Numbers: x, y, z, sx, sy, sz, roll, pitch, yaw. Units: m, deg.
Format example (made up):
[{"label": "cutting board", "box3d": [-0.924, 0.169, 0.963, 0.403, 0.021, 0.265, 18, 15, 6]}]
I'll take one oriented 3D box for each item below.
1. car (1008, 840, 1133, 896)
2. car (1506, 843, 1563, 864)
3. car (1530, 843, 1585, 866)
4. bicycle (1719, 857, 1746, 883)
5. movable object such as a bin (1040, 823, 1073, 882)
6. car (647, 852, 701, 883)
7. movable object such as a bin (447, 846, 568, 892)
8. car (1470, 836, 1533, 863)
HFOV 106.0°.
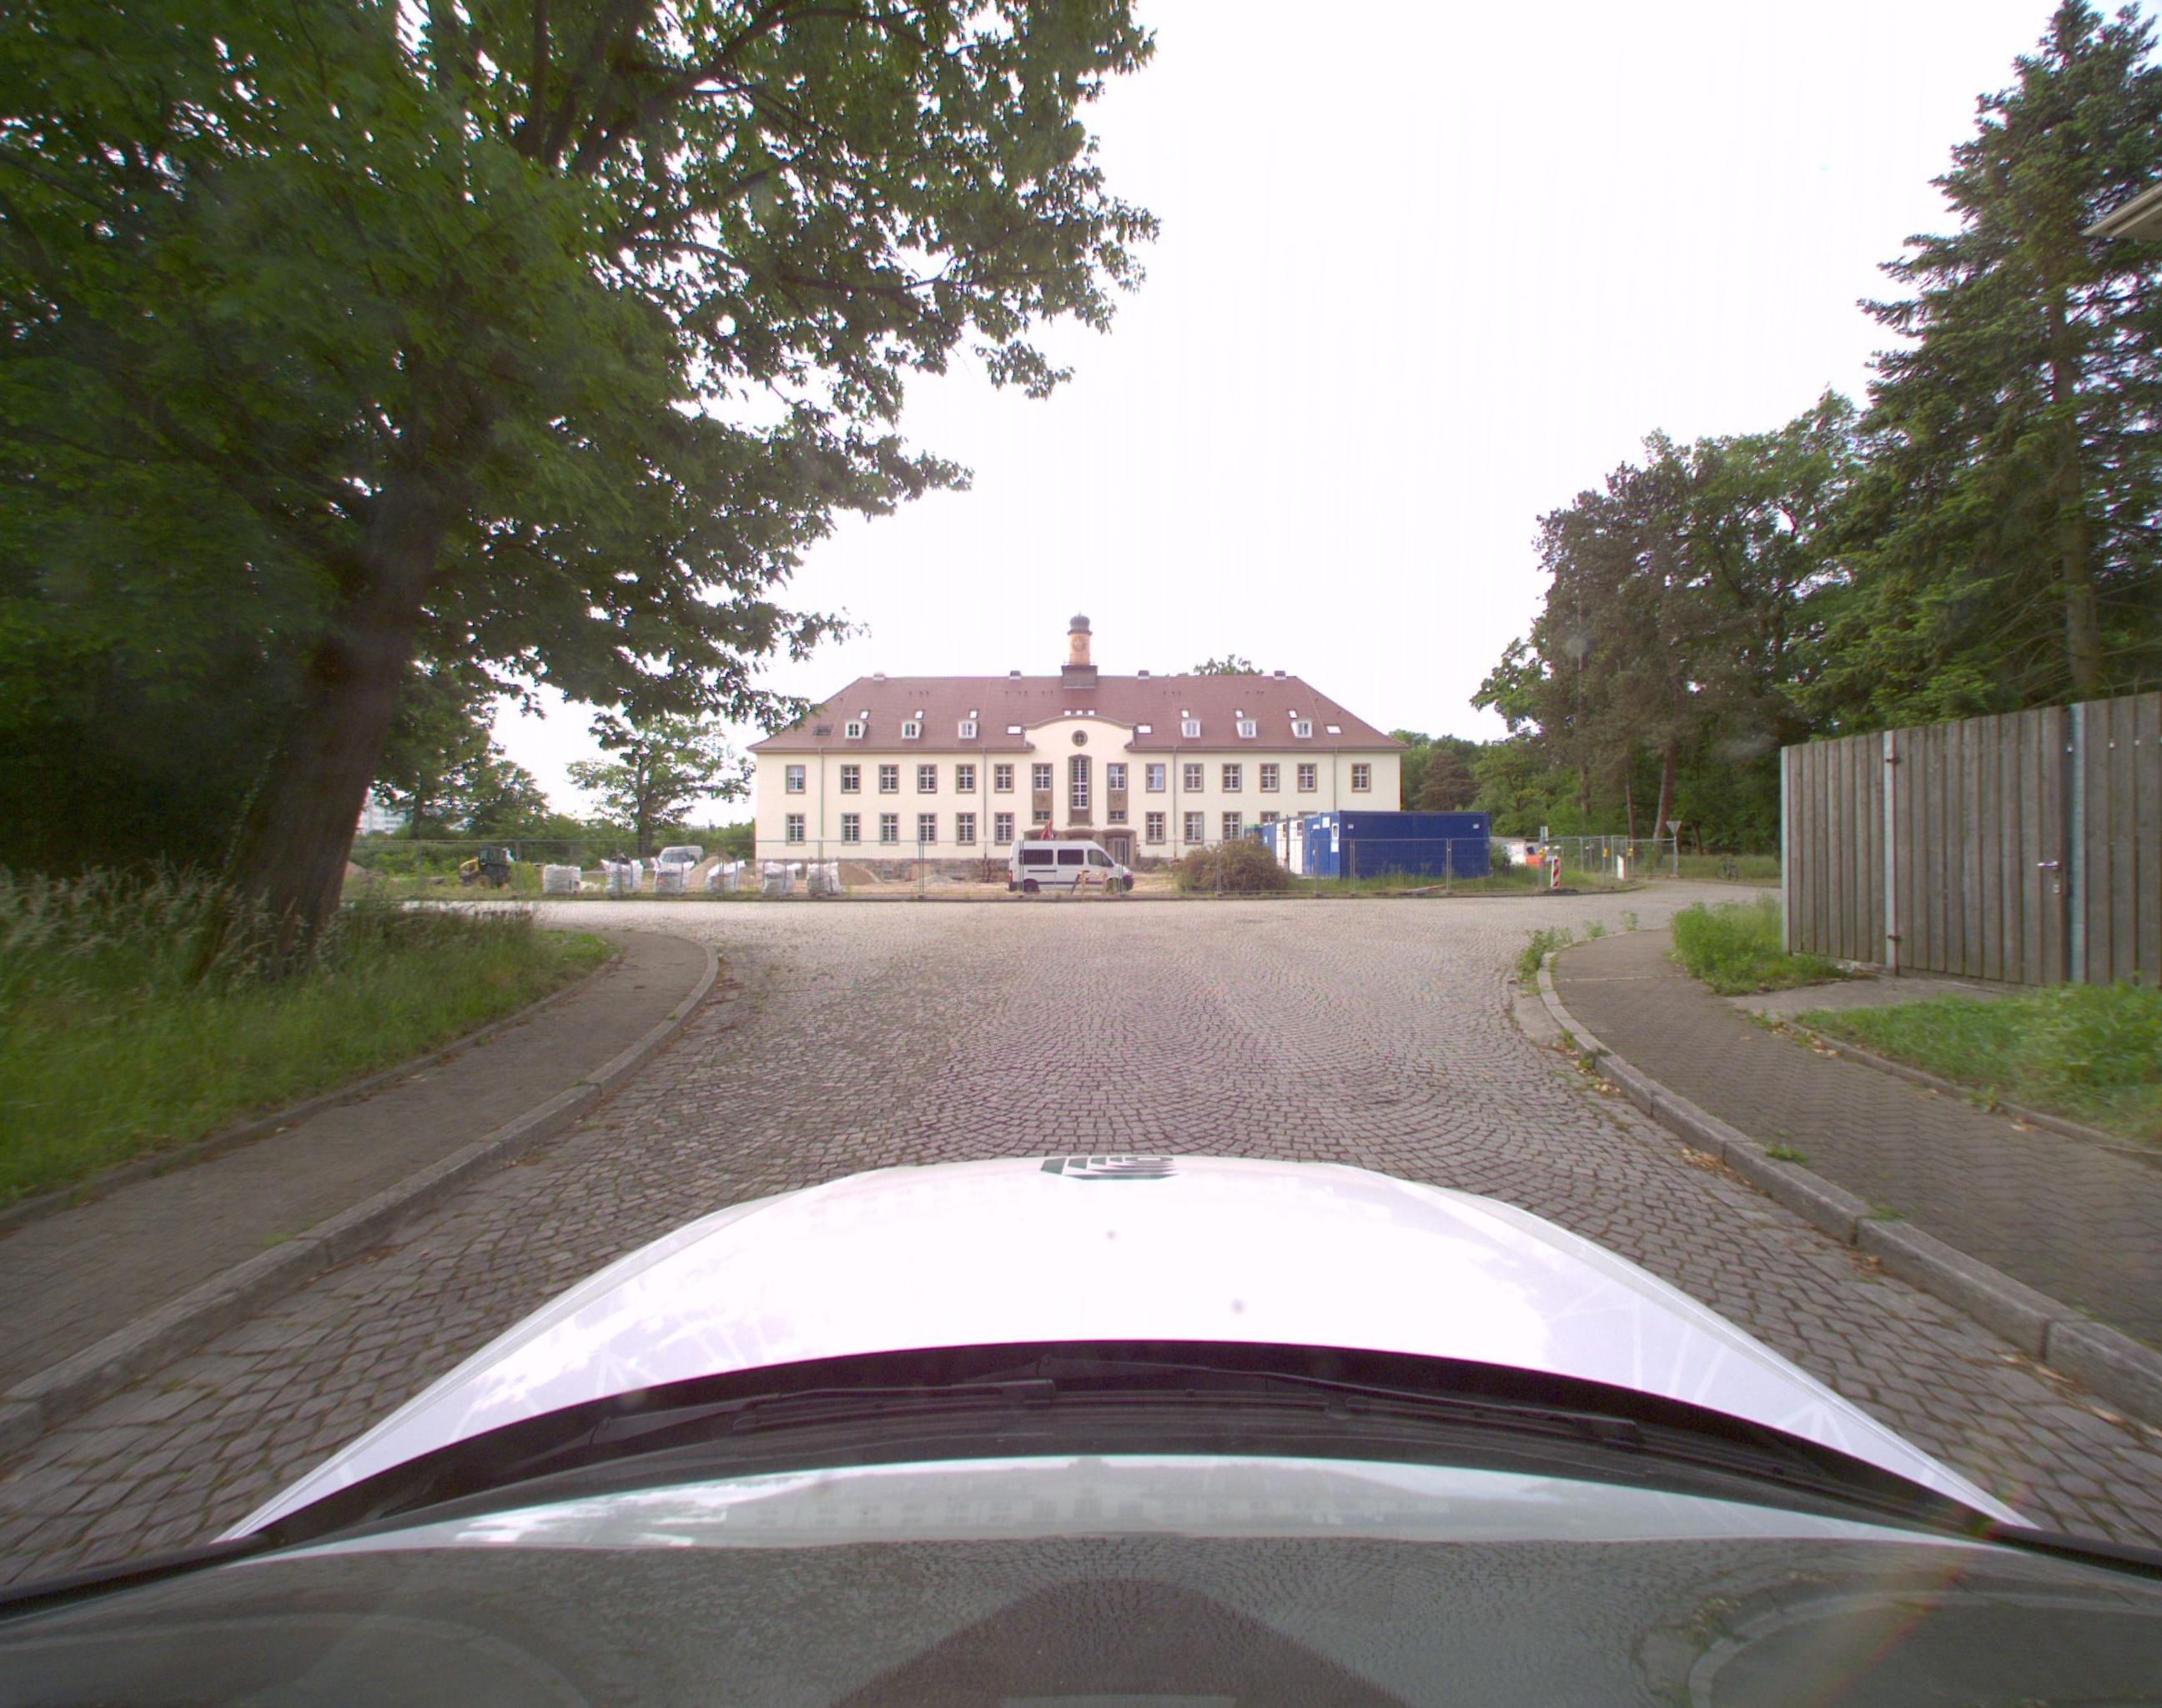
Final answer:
[{"label": "car", "box3d": [-0.414, 0.575, 35.082, 5.244, 2.344, 1.910, 0, 0, 0]}, {"label": "car", "box3d": [33.187, -0.041, 59.544, 4.461, 1.502, 1.746, -1, 0, -32]}, {"label": "car", "box3d": [32.780, 0.024, 55.994, 4.001, 1.487, 1.605, -1, 1, -32]}, {"label": "bicycle", "box3d": [30.164, 0.729, 37.734, 0.509, 1.167, 1.814, 0, 0, 23]}, {"label": "movable object such as a bin", "box3d": [-1.711, -0.097, 54.814, 1.990, 3.771, 5.310, 0, 0, -4]}, {"label": "car", "box3d": [-30.393, 0.976, 60.973, 2.065, 2.150, 4.887, 0, 0, -7]}, {"label": "movable object such as a bin", "box3d": [-32.416, 0.821, 46.146, 5.316, 2.556, 1.998, 0, 0, -3]}, {"label": "car", "box3d": [32.237, -0.352, 62.423, 5.440, 2.043, 1.746, -1, 0, -32]}]
